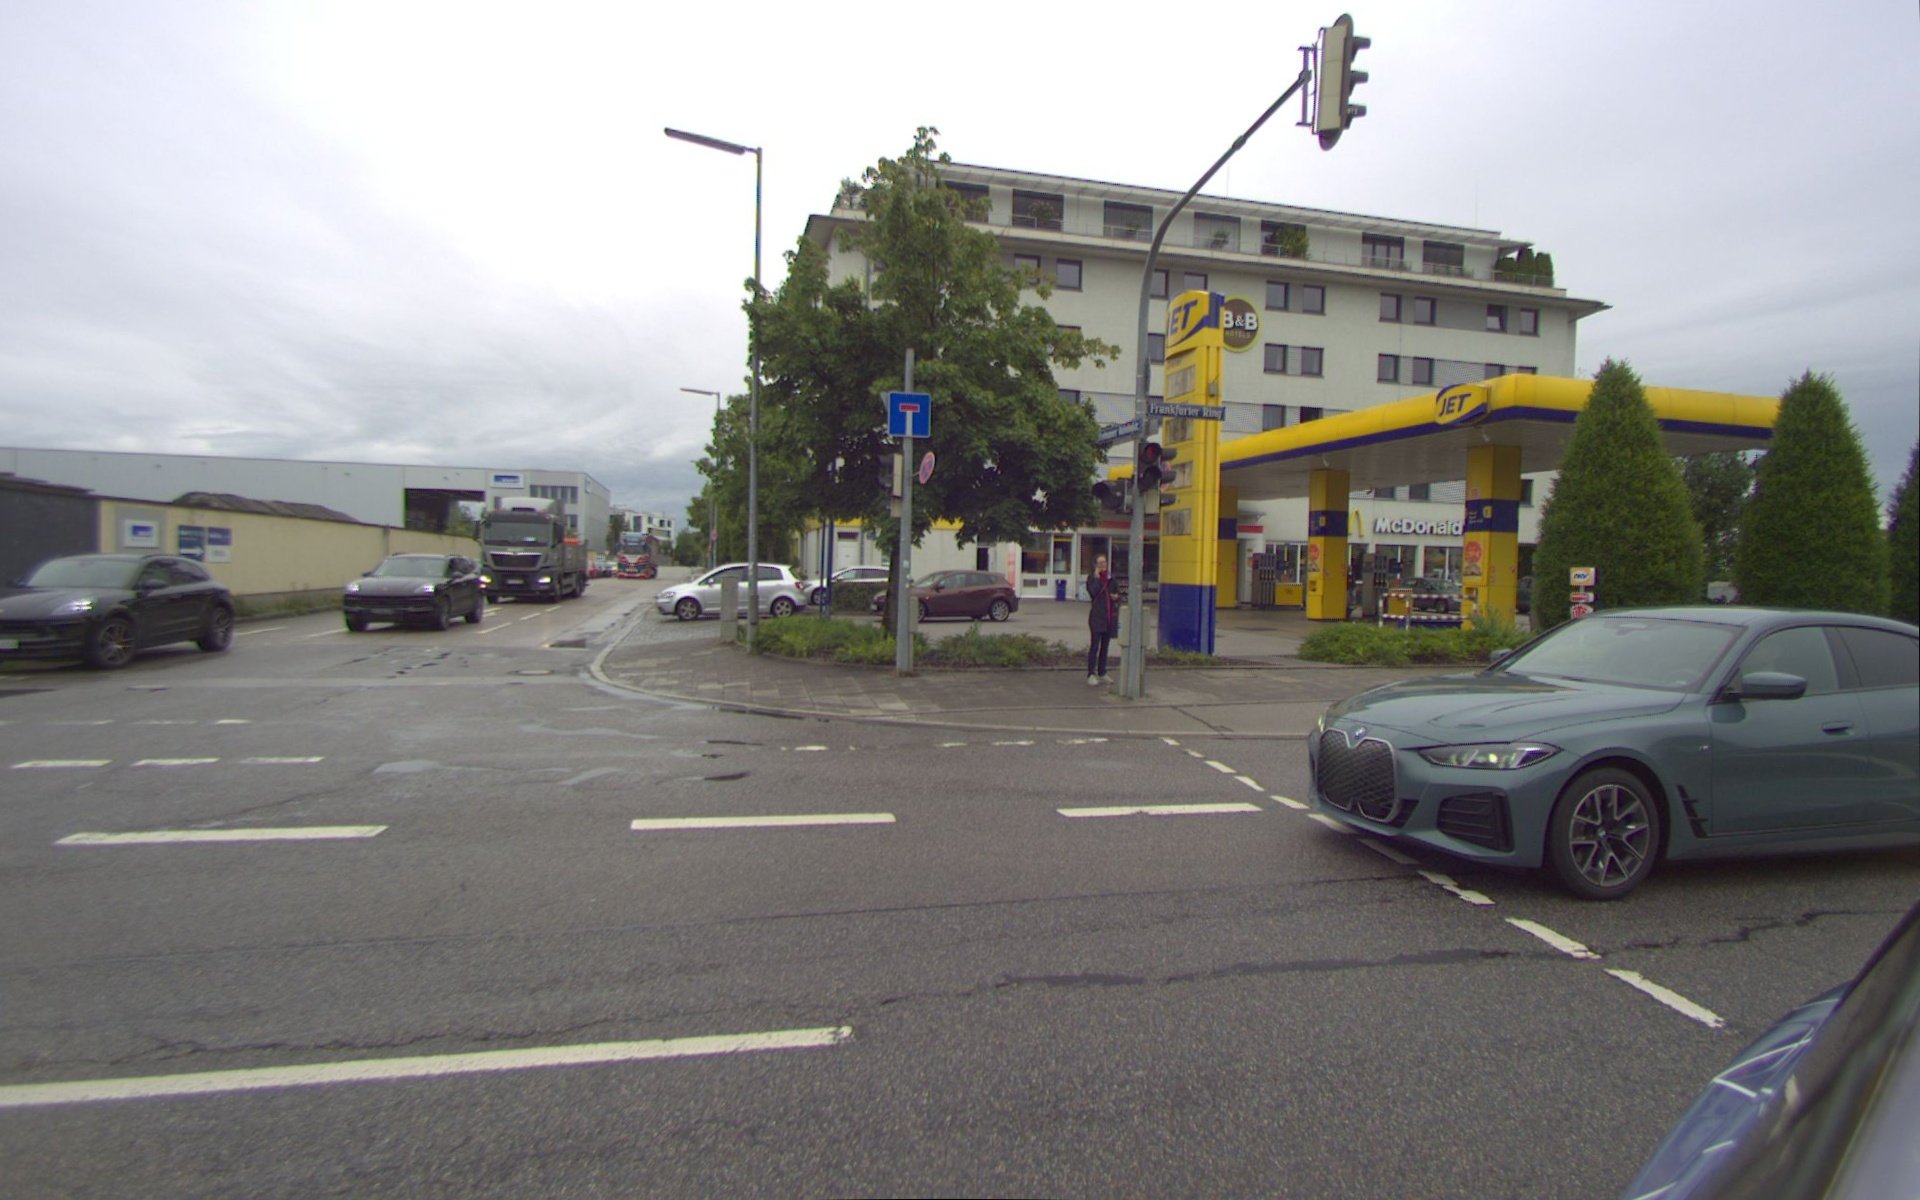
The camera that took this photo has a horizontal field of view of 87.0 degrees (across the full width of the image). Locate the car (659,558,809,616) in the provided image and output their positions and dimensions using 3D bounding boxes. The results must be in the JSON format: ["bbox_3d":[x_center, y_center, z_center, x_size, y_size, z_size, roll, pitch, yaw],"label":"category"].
[{"bbox_3d":[-6.247,-0.349,27.904,3.894,1.505,1.632,1,0,-16],"label":"car"}]

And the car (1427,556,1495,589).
[{"bbox_3d":[31.522,-1.699,63.834,1.686,1.967,4.008,1,1,-12],"label":"car"}]

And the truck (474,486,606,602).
[{"bbox_3d":[-16.332,-2.148,40.280,2.555,3.903,11.964,1,2,-12],"label":"truck"}]

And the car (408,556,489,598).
[{"bbox_3d":[-19.404,-0.917,38.588,1.727,1.494,4.009,1,2,-11],"label":"car"}]

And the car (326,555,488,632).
[{"bbox_3d":[-12.437,-0.217,23.107,1.958,1.551,4.643,1,2,-12],"label":"car"}]

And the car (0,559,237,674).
[{"bbox_3d":[-12.998,0.135,15.151,1.958,1.445,4.274,1,2,-12],"label":"car"}]

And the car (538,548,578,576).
[{"bbox_3d":[-26.671,-2.494,67.257,1.834,1.727,4.112,1,1,-13],"label":"car"}]

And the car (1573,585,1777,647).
[{"bbox_3d":[16.610,0.370,23.560,3.916,1.349,1.804,1,1,-16],"label":"car"}]

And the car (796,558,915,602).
[{"bbox_3d":[-3.903,-0.734,37.423,4.105,1.496,1.913,1,1,-15],"label":"car"}]

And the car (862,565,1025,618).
[{"bbox_3d":[-0.465,-0.232,28.667,4.273,1.401,1.707,1,1,-24],"label":"car"}]

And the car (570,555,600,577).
[{"bbox_3d":[-30.714,-2.767,83.015,1.834,1.727,4.112,1,1,-13],"label":"car"}]

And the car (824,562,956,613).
[{"bbox_3d":[-2.216,-0.381,31.616,3.895,1.505,1.632,1,0,-13],"label":"car"}]

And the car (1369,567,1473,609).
[{"bbox_3d":[19.046,-0.544,42.011,1.670,1.606,4.010,1,2,-16],"label":"car"}]

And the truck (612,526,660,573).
[{"bbox_3d":[-29.199,-4.532,91.579,2.819,3.878,11.964,1,2,-12],"label":"truck"}]

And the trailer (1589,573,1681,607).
[{"bbox_3d":[35.194,-0.531,52.875,1.601,1.671,3.818,1,1,-16],"label":"trailer"}]

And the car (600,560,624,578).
[{"bbox_3d":[-35.418,-3.106,103.110,1.834,1.727,4.112,1,1,-13],"label":"car"}]

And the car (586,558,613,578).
[{"bbox_3d":[-33.283,-2.946,93.512,1.834,1.727,4.112,1,1,-13],"label":"car"}]

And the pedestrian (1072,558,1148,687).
[{"bbox_3d":[1.990,0.281,13.518,0.673,1.634,0.807,1,4,-15],"label":"pedestrian"}]

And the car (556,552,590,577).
[{"bbox_3d":[-29.038,-2.649,76.105,1.834,1.727,4.112,1,1,-13],"label":"car"}]

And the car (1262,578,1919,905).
[{"bbox_3d":[4.321,0.674,6.177,4.346,1.526,1.922,1,1,-14],"label":"car"}]

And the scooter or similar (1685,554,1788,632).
[{"bbox_3d":[13.090,-0.119,17.063,1.513,1.257,0.358,1,4,-9],"label":"scooter or similar"}]

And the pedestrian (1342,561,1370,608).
[{"bbox_3d":[14.953,-0.594,38.210,0.630,1.750,0.710,1,0,-18],"label":"pedestrian"}]
